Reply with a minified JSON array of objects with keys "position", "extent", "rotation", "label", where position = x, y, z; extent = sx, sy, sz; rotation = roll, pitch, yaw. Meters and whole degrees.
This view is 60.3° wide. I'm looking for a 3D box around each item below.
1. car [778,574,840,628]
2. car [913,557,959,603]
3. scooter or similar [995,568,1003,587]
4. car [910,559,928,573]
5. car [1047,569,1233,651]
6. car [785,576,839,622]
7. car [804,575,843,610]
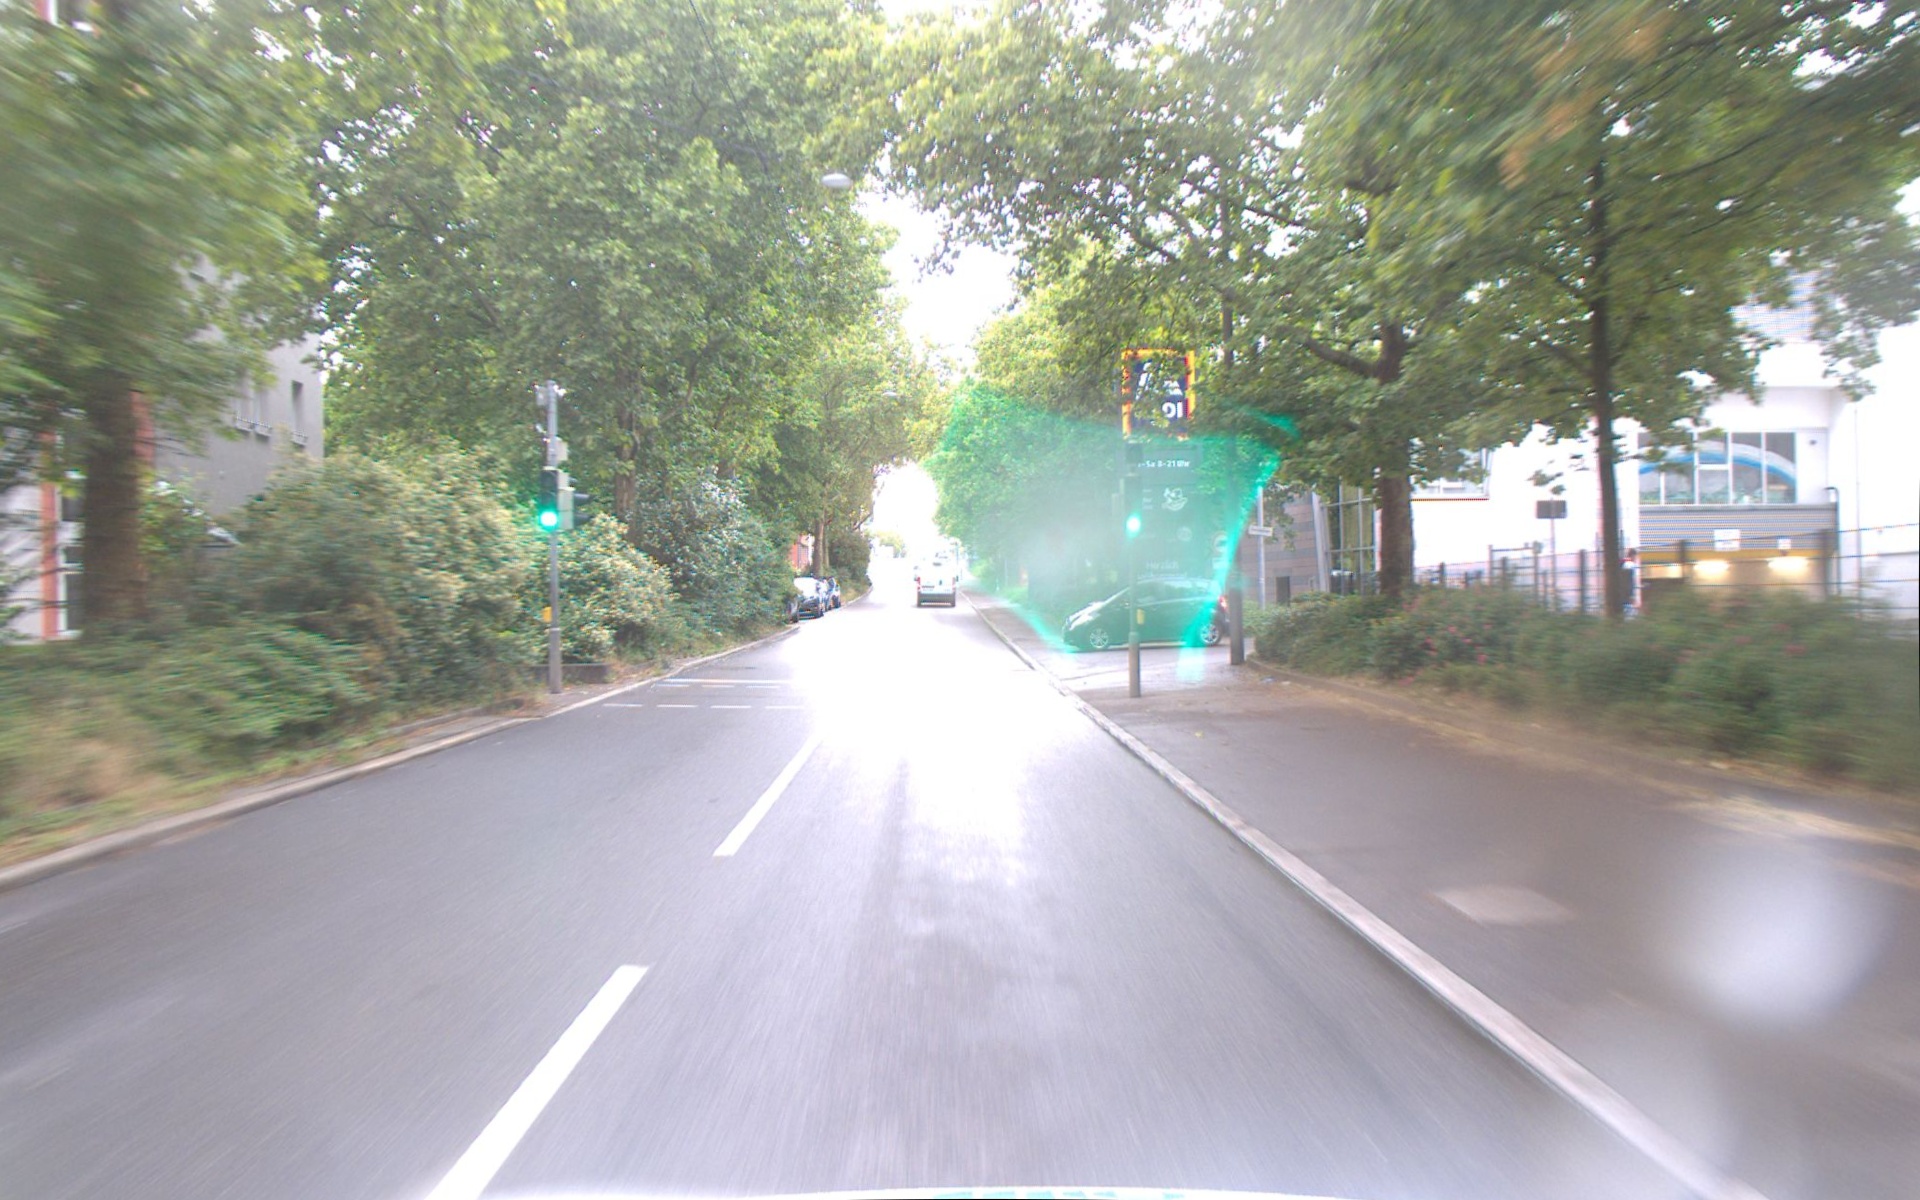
[{"position":[-5.409,-0.014,59.838],"extent":[1.699,1.686,4.565],"rotation":[-4,2,0],"label":"car"},{"position":[-1.236,-1.026,85.568],"extent":[2.288,2.270,4.000],"rotation":[-2,0,0],"label":"car"},{"position":[2.522,-1.431,106.481],"extent":[0.417,1.162,1.528],"rotation":[1,-1,-3],"label":"scooter or similar"},{"position":[-5.408,-4.519,218.916],"extent":[2.114,1.739,3.874],"rotation":[1,-1,3],"label":"car"},{"position":[4.030,0.213,37.493],"extent":[3.776,1.574,2.023],"rotation":[-3,1,-7],"label":"car"},{"position":[-5.811,-0.073,65.234],"extent":[1.827,1.619,4.237],"rotation":[-3,1,-3],"label":"car"},{"position":[-6.741,-0.393,81.906],"extent":[1.615,1.564,4.017],"rotation":[-4,1,-1],"label":"car"}]
